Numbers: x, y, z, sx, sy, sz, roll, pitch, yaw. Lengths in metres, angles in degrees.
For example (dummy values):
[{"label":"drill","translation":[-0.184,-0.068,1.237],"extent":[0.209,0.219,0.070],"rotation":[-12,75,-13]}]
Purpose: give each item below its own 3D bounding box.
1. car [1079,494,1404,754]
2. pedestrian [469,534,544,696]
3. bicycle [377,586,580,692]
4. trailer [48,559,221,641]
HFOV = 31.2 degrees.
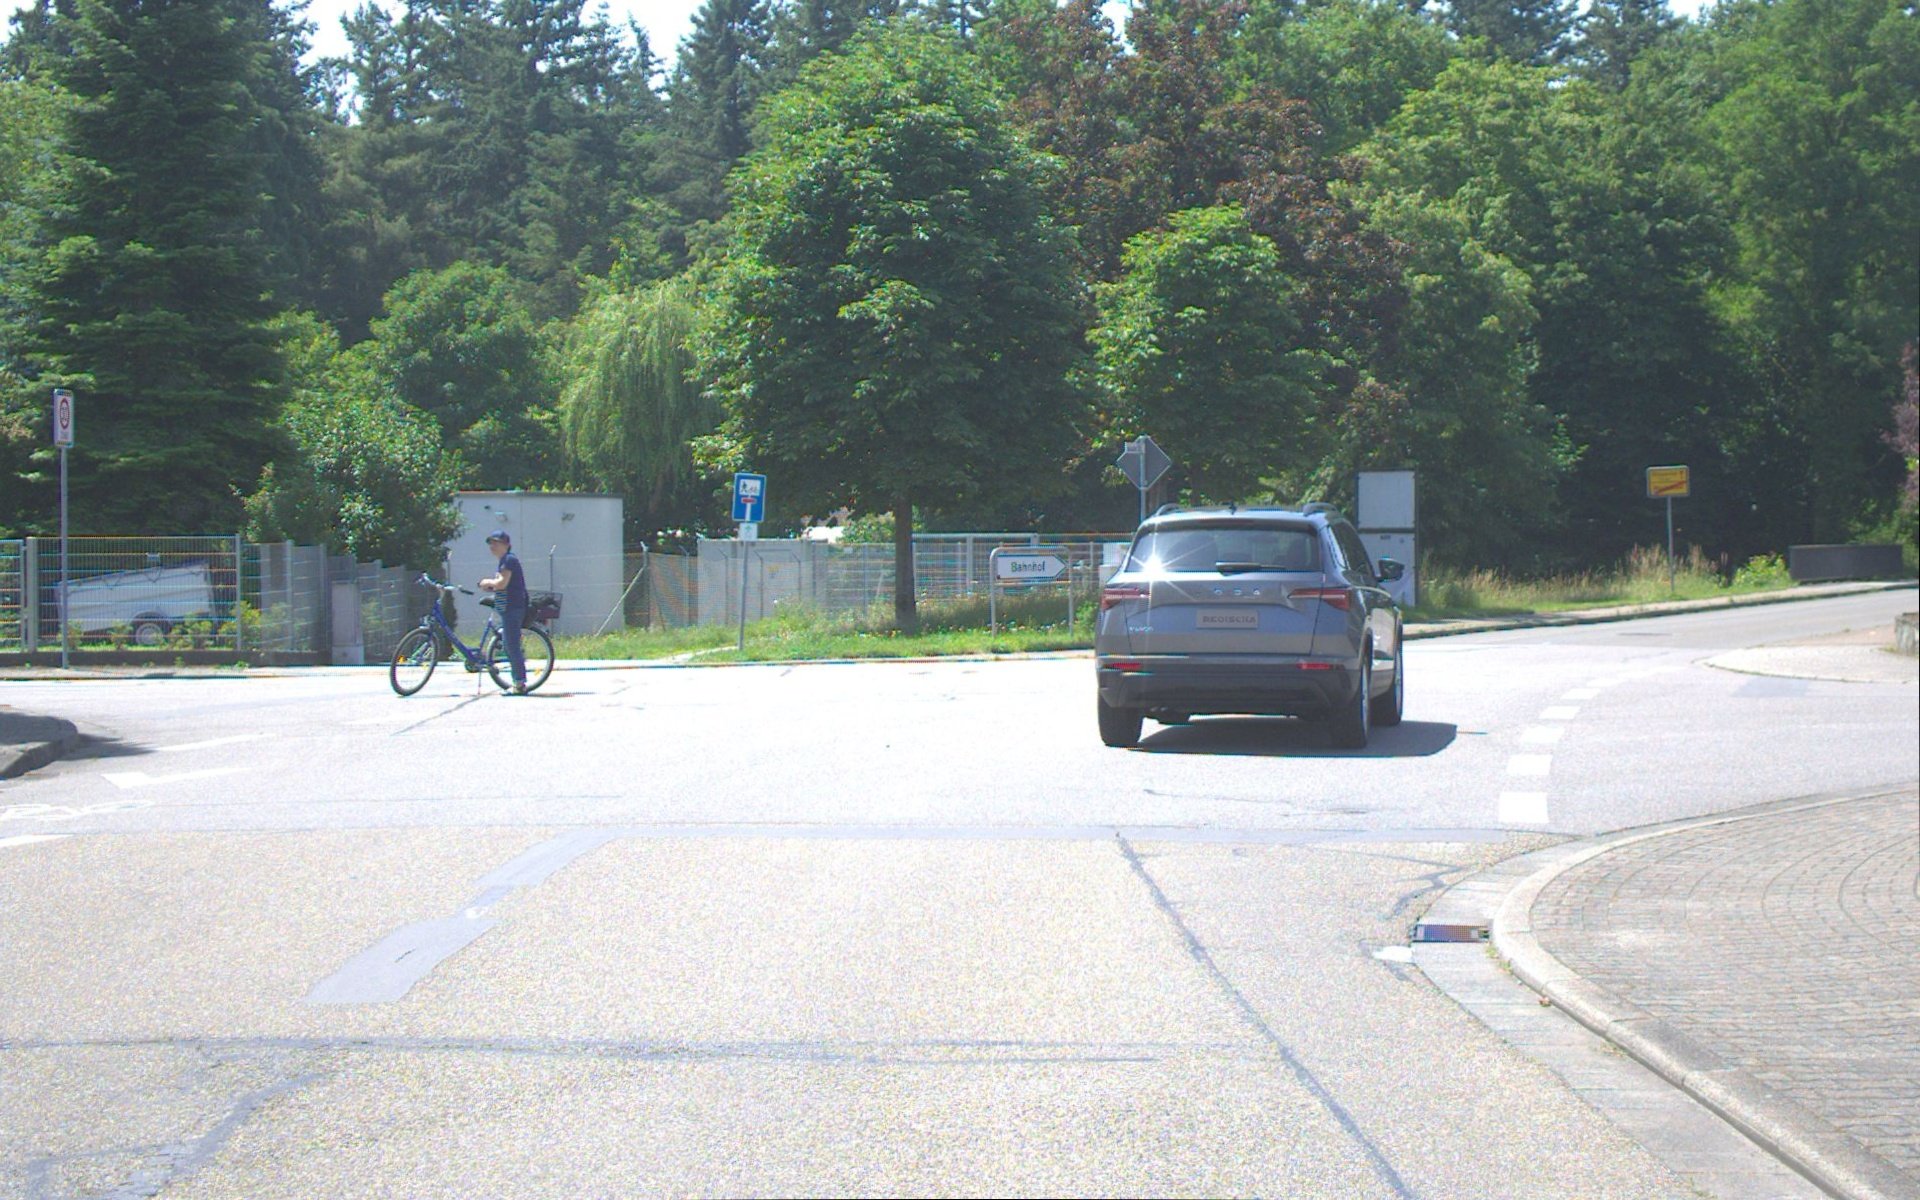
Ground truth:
[{"label":"car","translation":[2.038,0.120,23.830],"extent":[1.763,1.612,3.998],"rotation":[1,1,11]},{"label":"pedestrian","translation":[-4.228,0.131,32.043],"extent":[0.610,1.495,0.504],"rotation":[-1,1,-17]},{"label":"bicycle","translation":[-4.533,0.357,32.402],"extent":[1.842,0.960,0.443],"rotation":[-1,1,-19]},{"label":"trailer","translation":[-11.286,-0.005,47.086],"extent":[2.214,1.080,1.106],"rotation":[0,1,-8]}]
